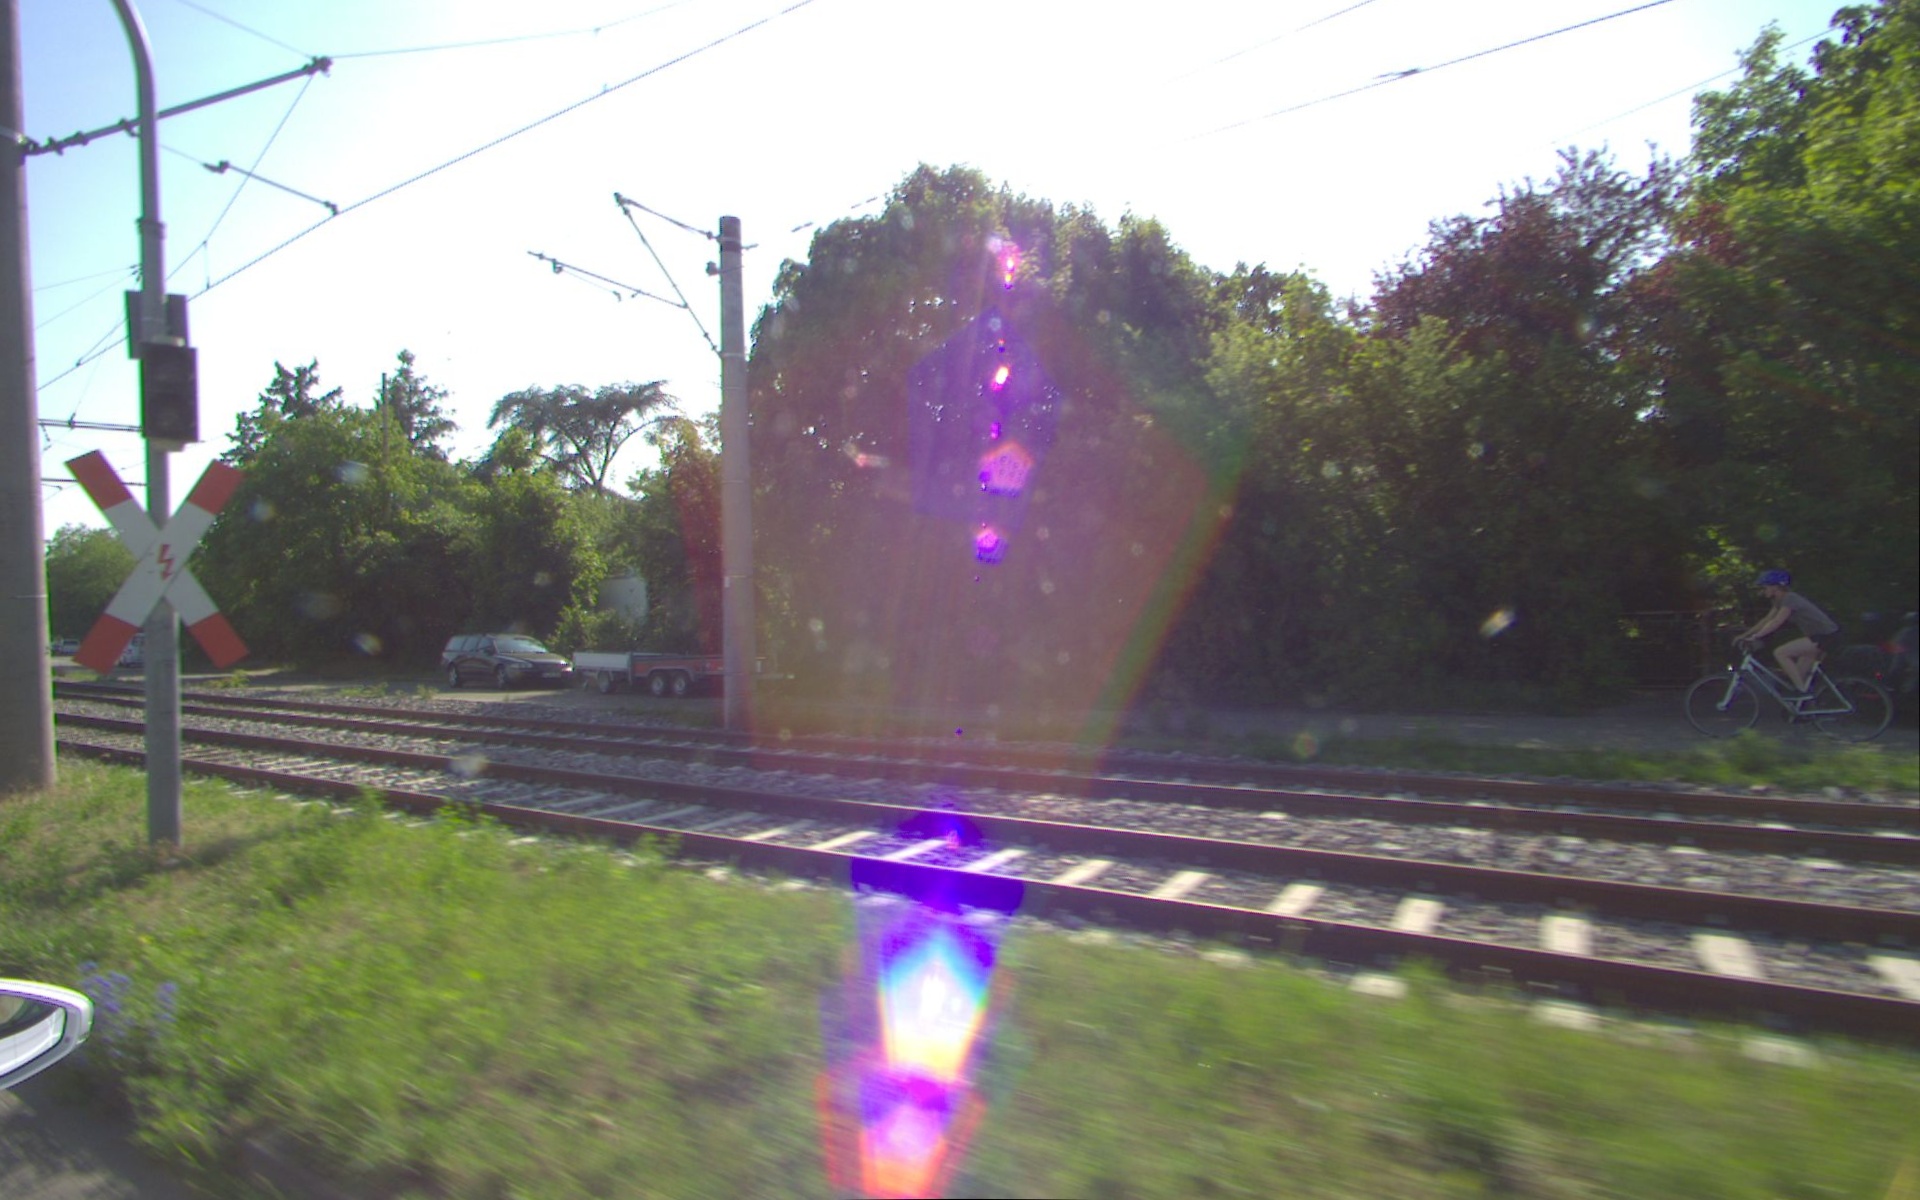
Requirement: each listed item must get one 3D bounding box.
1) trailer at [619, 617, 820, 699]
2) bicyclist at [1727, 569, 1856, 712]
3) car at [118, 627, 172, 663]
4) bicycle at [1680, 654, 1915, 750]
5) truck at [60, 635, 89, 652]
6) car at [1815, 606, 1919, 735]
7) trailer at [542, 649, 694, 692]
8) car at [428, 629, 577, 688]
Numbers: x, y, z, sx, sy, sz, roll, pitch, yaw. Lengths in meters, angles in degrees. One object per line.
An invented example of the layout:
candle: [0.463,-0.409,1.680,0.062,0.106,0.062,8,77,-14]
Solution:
trailer: [-5.279,1.249,21.784,4.204,1.616,2.021,-2,-3,36]
bicyclist: [8.815,0.425,10.653,0.948,1.440,0.628,-1,-1,31]
car: [-48.238,2.664,59.246,1.982,2.029,5.017,3,-4,-45]
bicycle: [8.821,1.047,10.651,1.817,0.921,0.642,-1,-1,31]
truck: [-100.060,4.907,113.128,2.190,1.842,5.872,0,-1,-44]
car: [12.545,0.766,11.046,4.452,1.428,1.622,-1,-2,28]
trailer: [-8.350,1.686,24.341,3.680,0.951,1.727,-2,-4,37]
car: [-12.393,1.535,26.997,4.822,1.475,1.692,-1,-3,39]
